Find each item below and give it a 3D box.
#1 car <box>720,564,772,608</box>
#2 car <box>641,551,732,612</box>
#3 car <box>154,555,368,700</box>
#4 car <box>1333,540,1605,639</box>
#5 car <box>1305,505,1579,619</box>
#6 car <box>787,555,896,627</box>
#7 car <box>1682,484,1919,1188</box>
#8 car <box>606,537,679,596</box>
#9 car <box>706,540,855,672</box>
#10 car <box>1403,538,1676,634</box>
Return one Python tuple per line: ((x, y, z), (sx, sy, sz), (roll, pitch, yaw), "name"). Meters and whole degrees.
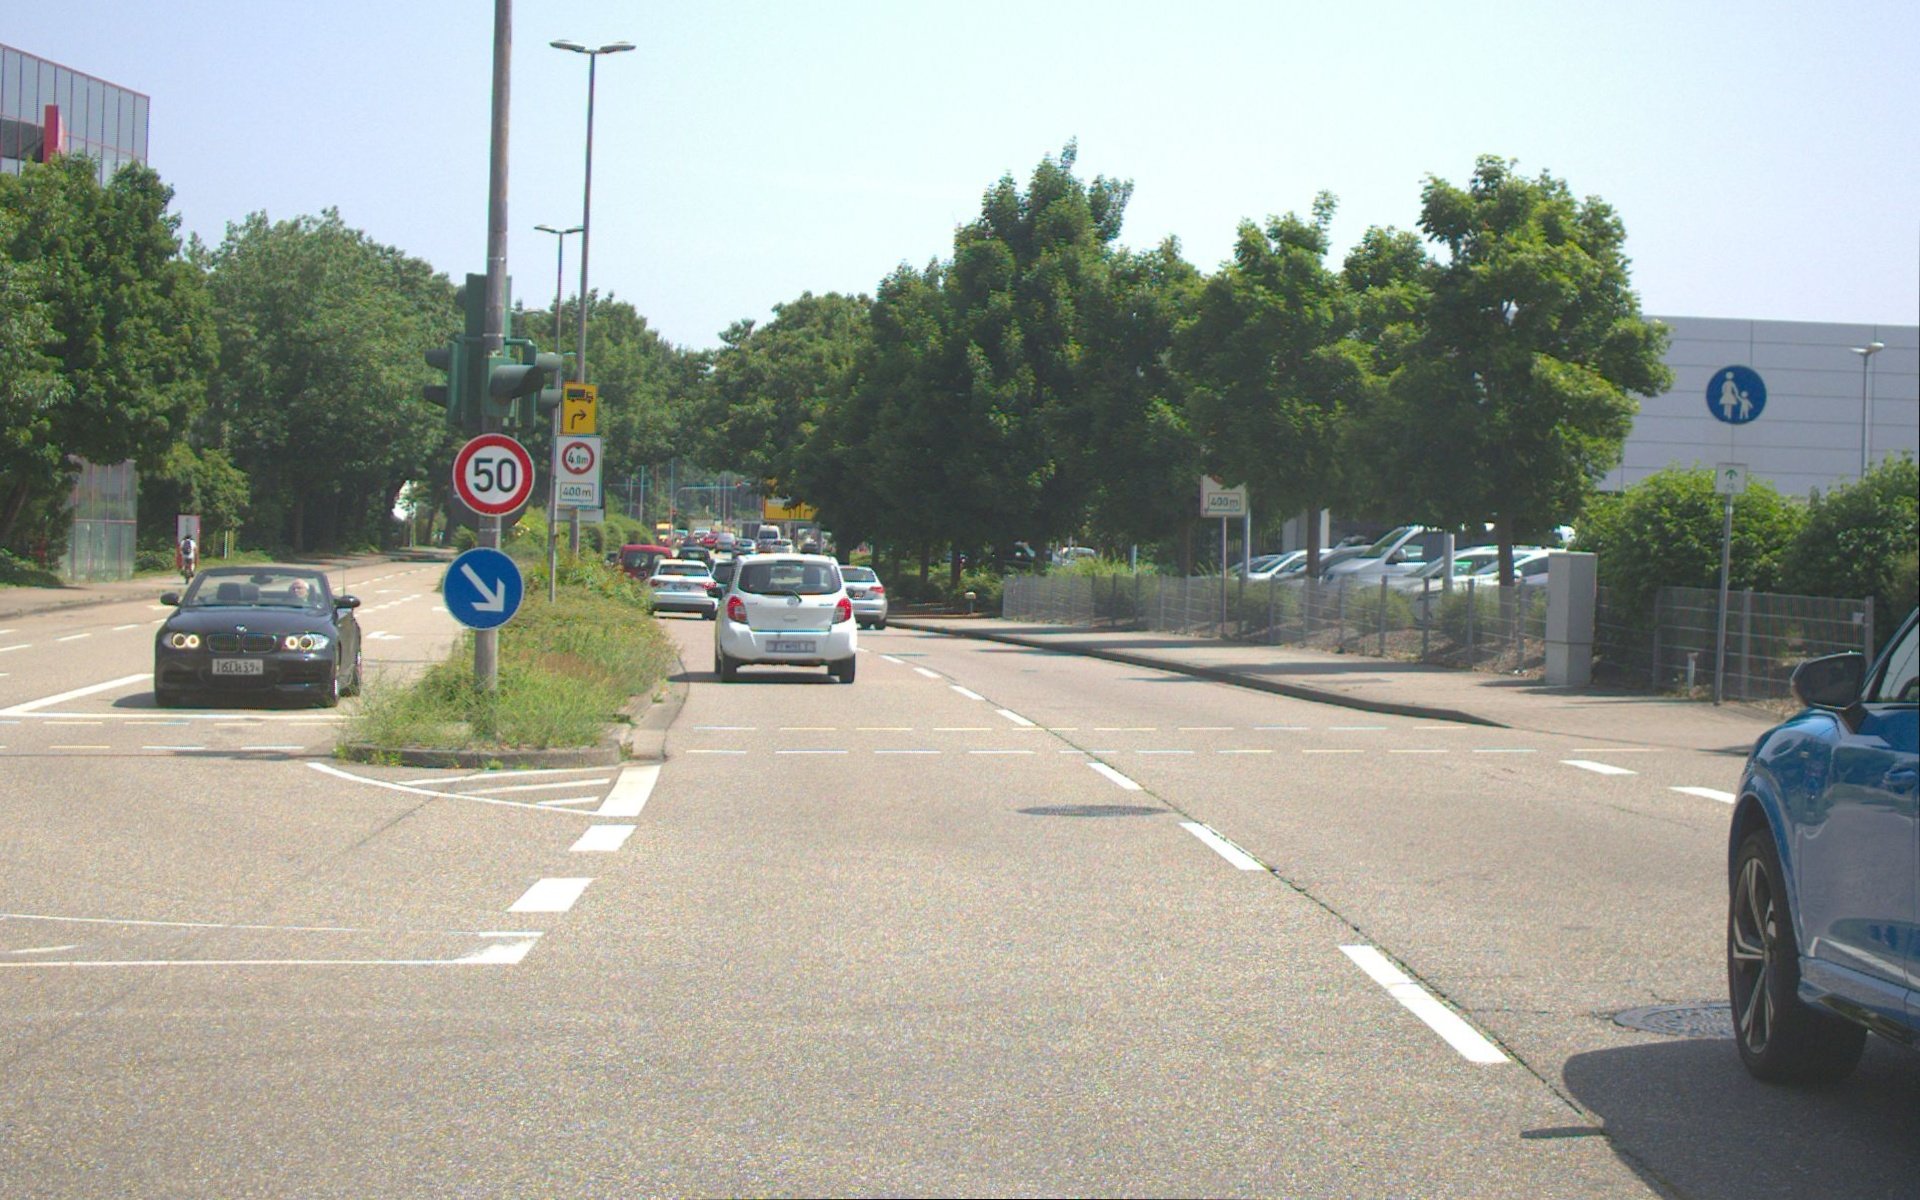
((-6.874, -0.466, 110.275), (1.441, 1.343, 3.461), (0, 1, -7), "car")
((-6.612, -0.464, 82.732), (1.884, 1.349, 4.001), (3, 1, -8), "car")
((-6.815, 0.226, 33.854), (1.729, 1.319, 4.150), (0, 1, -7), "car")
((8.885, -0.188, 60.238), (4.366, 1.587, 1.827), (2, 1, -4), "car")
((8.798, -0.700, 62.969), (4.615, 1.918, 1.827), (2, 1, -6), "car")
((-2.674, -0.213, 76.737), (1.865, 1.468, 4.001), (3, 1, -9), "car")
((3.075, 0.528, 8.185), (1.808, 1.587, 4.349), (0, 1, 0), "car")
((-8.978, -0.965, 96.996), (1.884, 1.603, 4.001), (0, 1, -7), "car")
((-2.221, 0.049, 41.825), (1.638, 1.546, 3.326), (0, 1, -6), "car")
((9.354, -0.237, 55.641), (3.995, 1.416, 1.698), (2, 1, -6), "car")
